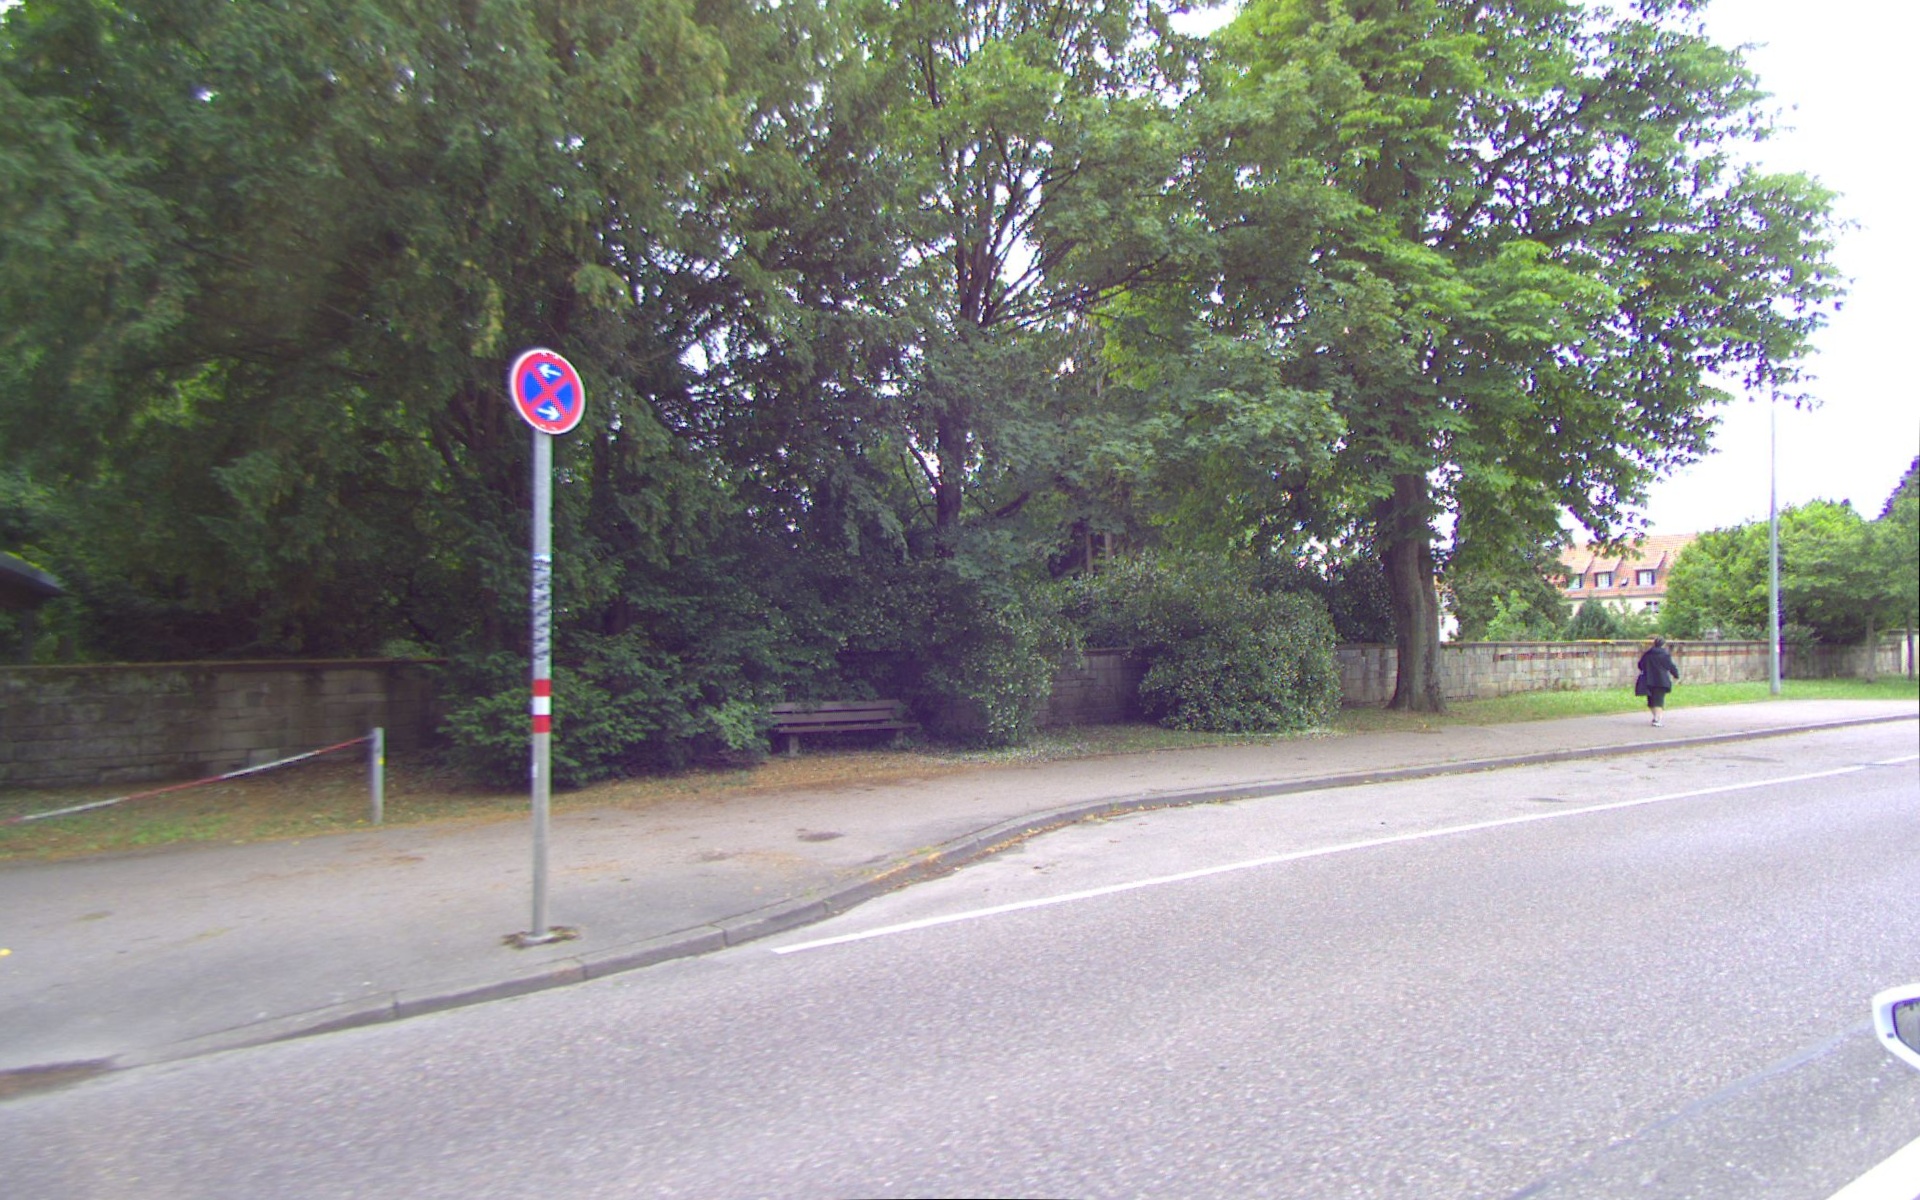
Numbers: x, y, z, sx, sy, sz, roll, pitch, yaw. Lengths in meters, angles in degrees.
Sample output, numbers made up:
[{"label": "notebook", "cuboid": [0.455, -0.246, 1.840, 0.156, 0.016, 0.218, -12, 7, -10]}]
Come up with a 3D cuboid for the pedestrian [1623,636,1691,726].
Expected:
[{"label": "pedestrian", "cuboid": [12.775, 1.460, 18.416, 0.957, 1.599, 0.744, 1, -1, -35]}]
